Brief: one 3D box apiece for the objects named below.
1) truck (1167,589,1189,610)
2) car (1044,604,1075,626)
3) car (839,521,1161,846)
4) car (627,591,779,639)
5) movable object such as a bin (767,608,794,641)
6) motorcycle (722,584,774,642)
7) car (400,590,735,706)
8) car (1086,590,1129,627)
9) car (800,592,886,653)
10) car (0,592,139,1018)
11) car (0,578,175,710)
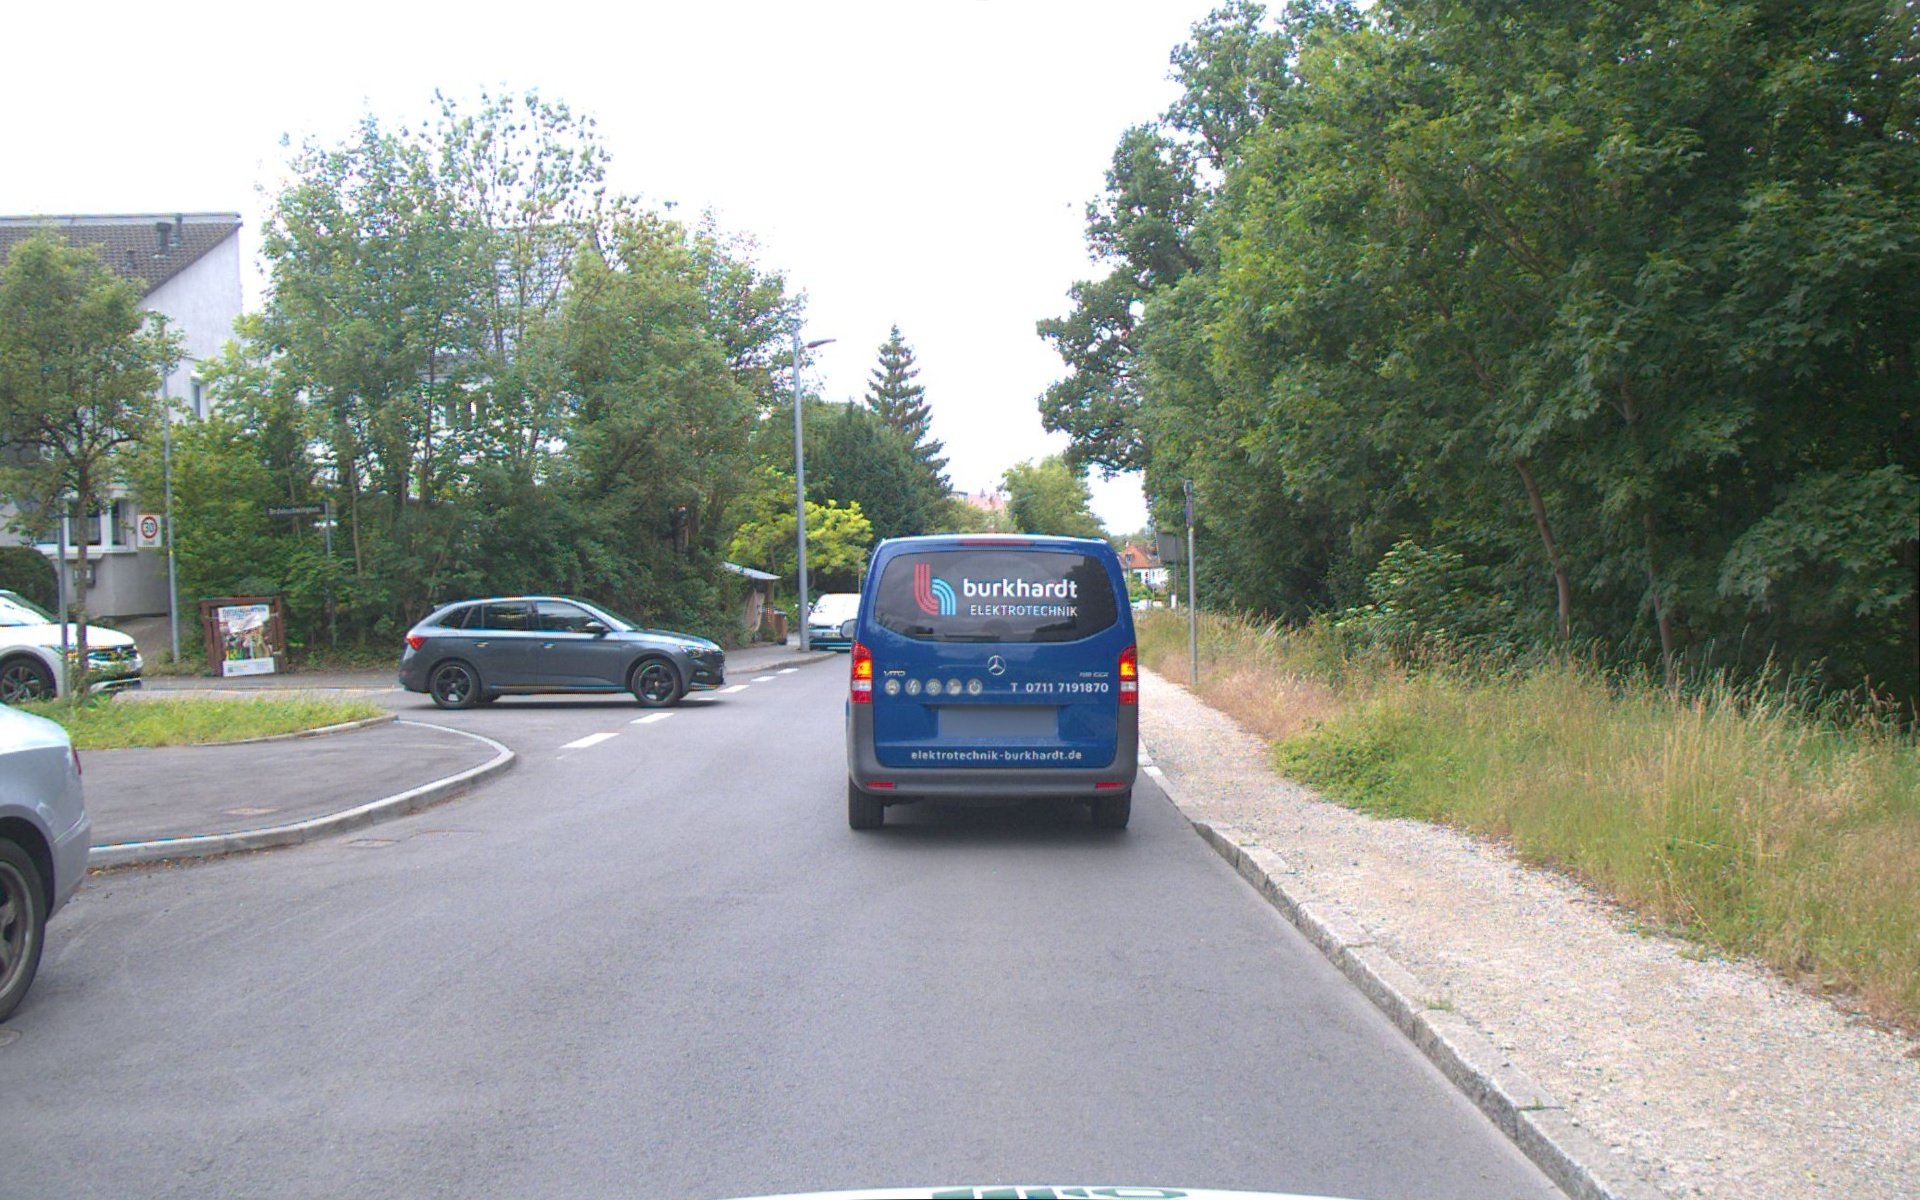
[{"bbox_3d":[30.451,-0.055,230.637,2.704,2.842,9.276,0,0,9],"label":"truck"},{"bbox_3d":[6.662,1.018,110.483,1.711,1.429,4.003,0,0,9],"label":"car"},{"bbox_3d":[0.251,0.466,12.009,1.896,1.913,4.531,0,1,0],"label":"car"},{"bbox_3d":[-8.068,0.455,52.211,4.386,1.466,1.880,0,0,6],"label":"car"},{"bbox_3d":[-5.136,0.703,47.360,0.578,0.925,0.701,0,0,10],"label":"movable object such as a bin"},{"bbox_3d":[-5.782,0.349,45.302,0.792,1.511,2.898,0,0,6],"label":"motorcycle"},{"bbox_3d":[-5.180,0.622,22.233,4.082,1.472,1.739,0,0,-2],"label":"car"},{"bbox_3d":[8.750,0.482,97.841,2.159,2.100,6.140,0,0,8],"label":"car"},{"bbox_3d":[-2.966,0.553,42.742,1.670,1.493,4.077,0,0,3],"label":"car"},{"bbox_3d":[-4.088,0.688,4.136,1.793,1.398,4.446,1,1,1],"label":"car"},{"bbox_3d":[-13.568,0.572,22.464,4.833,1.699,2.038,0,0,2],"label":"car"}]
